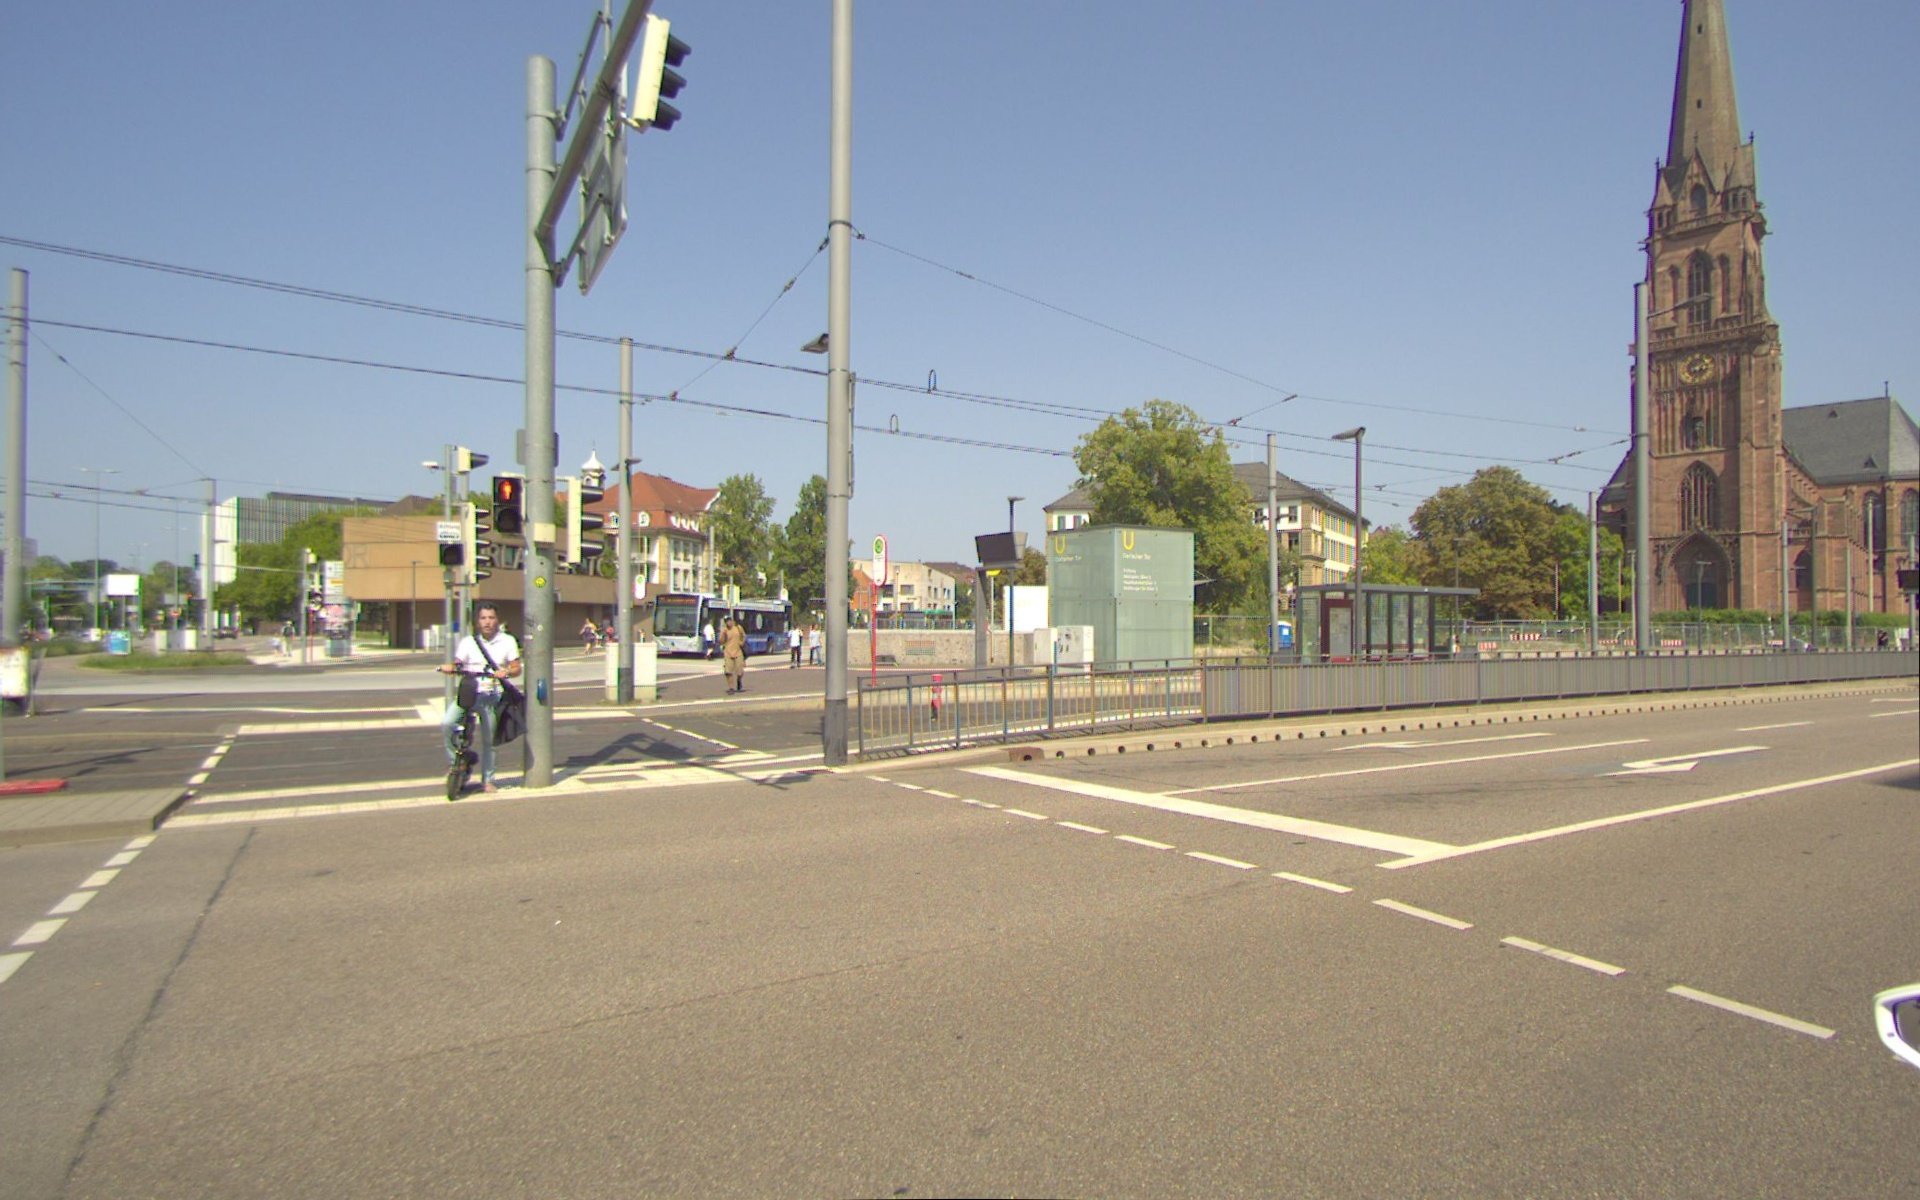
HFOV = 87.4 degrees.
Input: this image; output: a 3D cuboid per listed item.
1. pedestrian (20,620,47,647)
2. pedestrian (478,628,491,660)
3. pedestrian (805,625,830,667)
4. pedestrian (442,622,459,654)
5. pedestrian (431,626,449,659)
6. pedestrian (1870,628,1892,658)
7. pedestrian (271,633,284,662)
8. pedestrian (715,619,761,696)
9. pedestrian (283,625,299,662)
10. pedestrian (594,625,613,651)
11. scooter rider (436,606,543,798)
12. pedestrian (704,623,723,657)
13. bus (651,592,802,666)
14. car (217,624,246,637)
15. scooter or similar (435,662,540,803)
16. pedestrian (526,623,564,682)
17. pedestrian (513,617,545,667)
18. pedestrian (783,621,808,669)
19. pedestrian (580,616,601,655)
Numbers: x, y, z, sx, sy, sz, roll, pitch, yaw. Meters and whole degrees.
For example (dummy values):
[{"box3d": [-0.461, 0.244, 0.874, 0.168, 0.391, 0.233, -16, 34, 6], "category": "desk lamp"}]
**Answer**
[{"box3d": [-64.739, 2.333, 70.190, 0.953, 1.809, 1.113, 0, -1, -16], "category": "pedestrian"}, {"box3d": [-25.984, 2.398, 54.852, 0.564, 1.667, 0.508, -1, 0, -30], "category": "pedestrian"}, {"box3d": [-5.526, 1.779, 39.026, 0.768, 1.569, 0.679, 1, -1, 7], "category": "pedestrian"}, {"box3d": [-27.466, 2.035, 54.135, 0.566, 1.698, 0.587, -2, 0, 14], "category": "pedestrian"}, {"box3d": [-27.660, 2.249, 53.424, 0.566, 1.698, 0.587, -2, 0, 14], "category": "pedestrian"}, {"box3d": [55.378, 2.579, 60.407, 0.712, 1.775, 0.825, 2, -2, -31], "category": "pedestrian"}, {"box3d": [-33.392, 2.324, 49.162, 0.458, 1.393, 0.345, 1, -2, -44], "category": "pedestrian"}, {"box3d": [-4.996, 1.280, 22.589, 0.565, 1.681, 0.797, -1, 0, 39], "category": "pedestrian"}, {"box3d": [-32.984, 2.139, 49.552, 0.557, 1.840, 0.553, 1, -2, -43], "category": "pedestrian"}, {"box3d": [-23.949, 2.579, 67.507, 0.779, 1.701, 0.856, -2, 0, 14], "category": "pedestrian"}, {"box3d": [-4.418, 0.913, 9.428, 0.771, 1.695, 0.766, 1, -1, -36], "category": "scooter rider"}, {"box3d": [-11.219, 1.810, 45.766, 0.588, 1.549, 0.577, 1, -2, 17], "category": "pedestrian"}, {"box3d": [-11.703, 1.478, 52.309, 2.623, 3.375, 12.767, 0, -1, 11], "category": "bus"}, {"box3d": [-93.920, 3.931, 129.563, 1.875, 1.674, 4.633, 0, -2, -22], "category": "car"}, {"box3d": [-4.447, 1.191, 9.417, 0.702, 1.163, 1.330, 1, -2, -34], "category": "scooter or similar"}, {"box3d": [-13.042, 1.644, 31.567, 0.948, 1.803, 0.779, 2, -2, -30], "category": "pedestrian"}, {"box3d": [-16.033, 1.561, 37.354, 0.948, 1.803, 0.779, 2, -2, -30], "category": "pedestrian"}, {"box3d": [-6.078, 1.664, 37.132, 0.768, 1.751, 0.679, 0, -1, 7], "category": "pedestrian"}, {"box3d": [-17.590, 1.685, 47.790, 0.775, 1.803, 0.953, 2, -2, -26], "category": "pedestrian"}]
